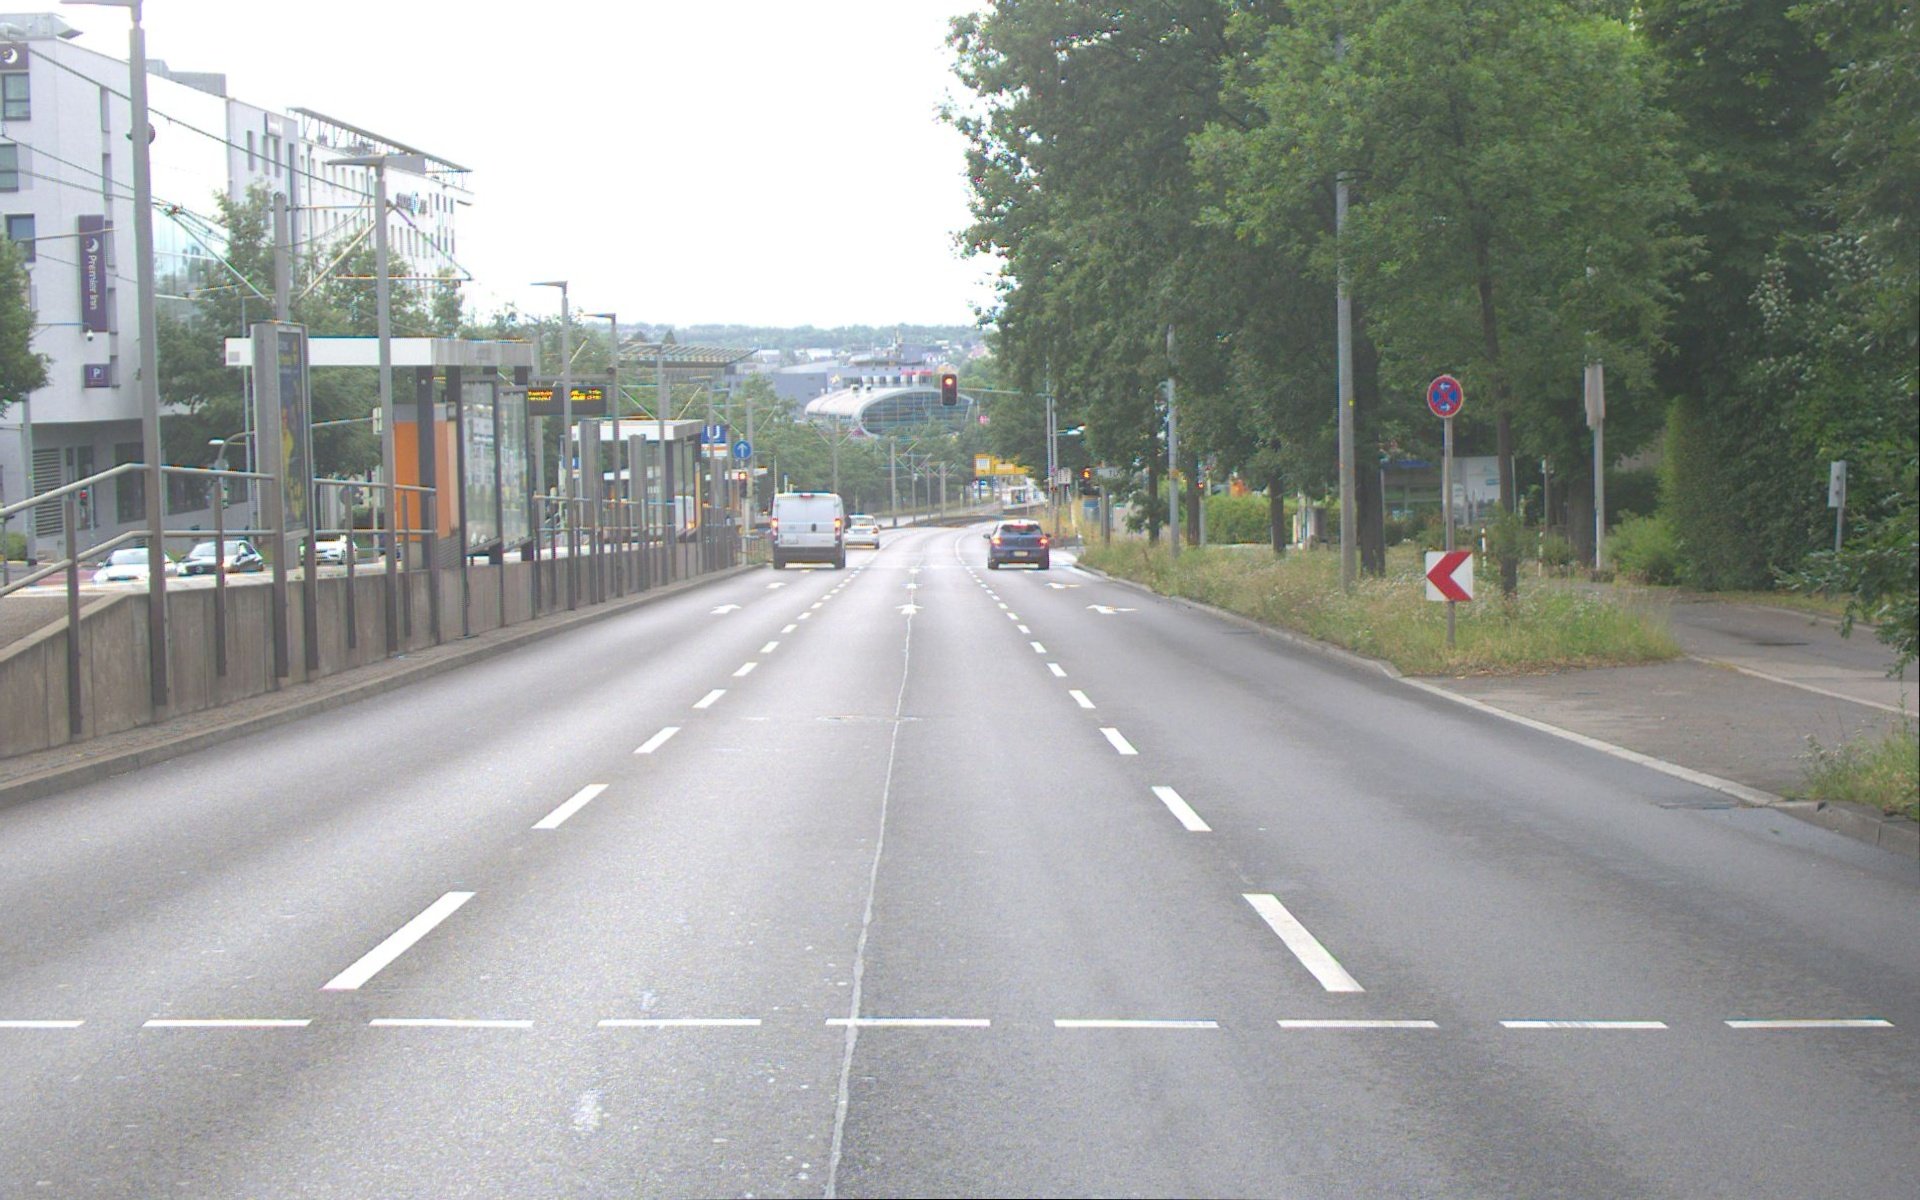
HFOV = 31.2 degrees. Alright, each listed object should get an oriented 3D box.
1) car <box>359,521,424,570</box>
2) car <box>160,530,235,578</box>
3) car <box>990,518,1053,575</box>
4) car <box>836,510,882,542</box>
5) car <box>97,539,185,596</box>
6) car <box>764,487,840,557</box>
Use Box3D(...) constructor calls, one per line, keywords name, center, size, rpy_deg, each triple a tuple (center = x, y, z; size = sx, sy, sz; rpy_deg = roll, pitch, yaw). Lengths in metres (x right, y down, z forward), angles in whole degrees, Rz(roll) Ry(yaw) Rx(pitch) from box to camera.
Box3D(name="car", center=(-17.499, -1.673, 105.779), size=(1.650, 1.431, 3.881), rpy_deg=(-3, 1, -13))
Box3D(name="car", center=(-22.604, -1.374, 102.044), size=(1.567, 1.374, 3.519), rpy_deg=(0, 2, -2))
Box3D(name="car", center=(1.815, -1.620, 102.779), size=(1.774, 1.685, 3.846), rpy_deg=(0, 1, -1))
Box3D(name="car", center=(-4.382, -3.223, 149.702), size=(1.783, 1.385, 4.000), rpy_deg=(0, 1, 1))
Box3D(name="car", center=(-22.155, -0.890, 93.115), size=(1.650, 1.431, 3.880), rpy_deg=(-3, 1, -4))
Box3D(name="car", center=(-4.678, -2.329, 102.430), size=(2.093, 2.046, 4.607), rpy_deg=(0, 1, -1))
